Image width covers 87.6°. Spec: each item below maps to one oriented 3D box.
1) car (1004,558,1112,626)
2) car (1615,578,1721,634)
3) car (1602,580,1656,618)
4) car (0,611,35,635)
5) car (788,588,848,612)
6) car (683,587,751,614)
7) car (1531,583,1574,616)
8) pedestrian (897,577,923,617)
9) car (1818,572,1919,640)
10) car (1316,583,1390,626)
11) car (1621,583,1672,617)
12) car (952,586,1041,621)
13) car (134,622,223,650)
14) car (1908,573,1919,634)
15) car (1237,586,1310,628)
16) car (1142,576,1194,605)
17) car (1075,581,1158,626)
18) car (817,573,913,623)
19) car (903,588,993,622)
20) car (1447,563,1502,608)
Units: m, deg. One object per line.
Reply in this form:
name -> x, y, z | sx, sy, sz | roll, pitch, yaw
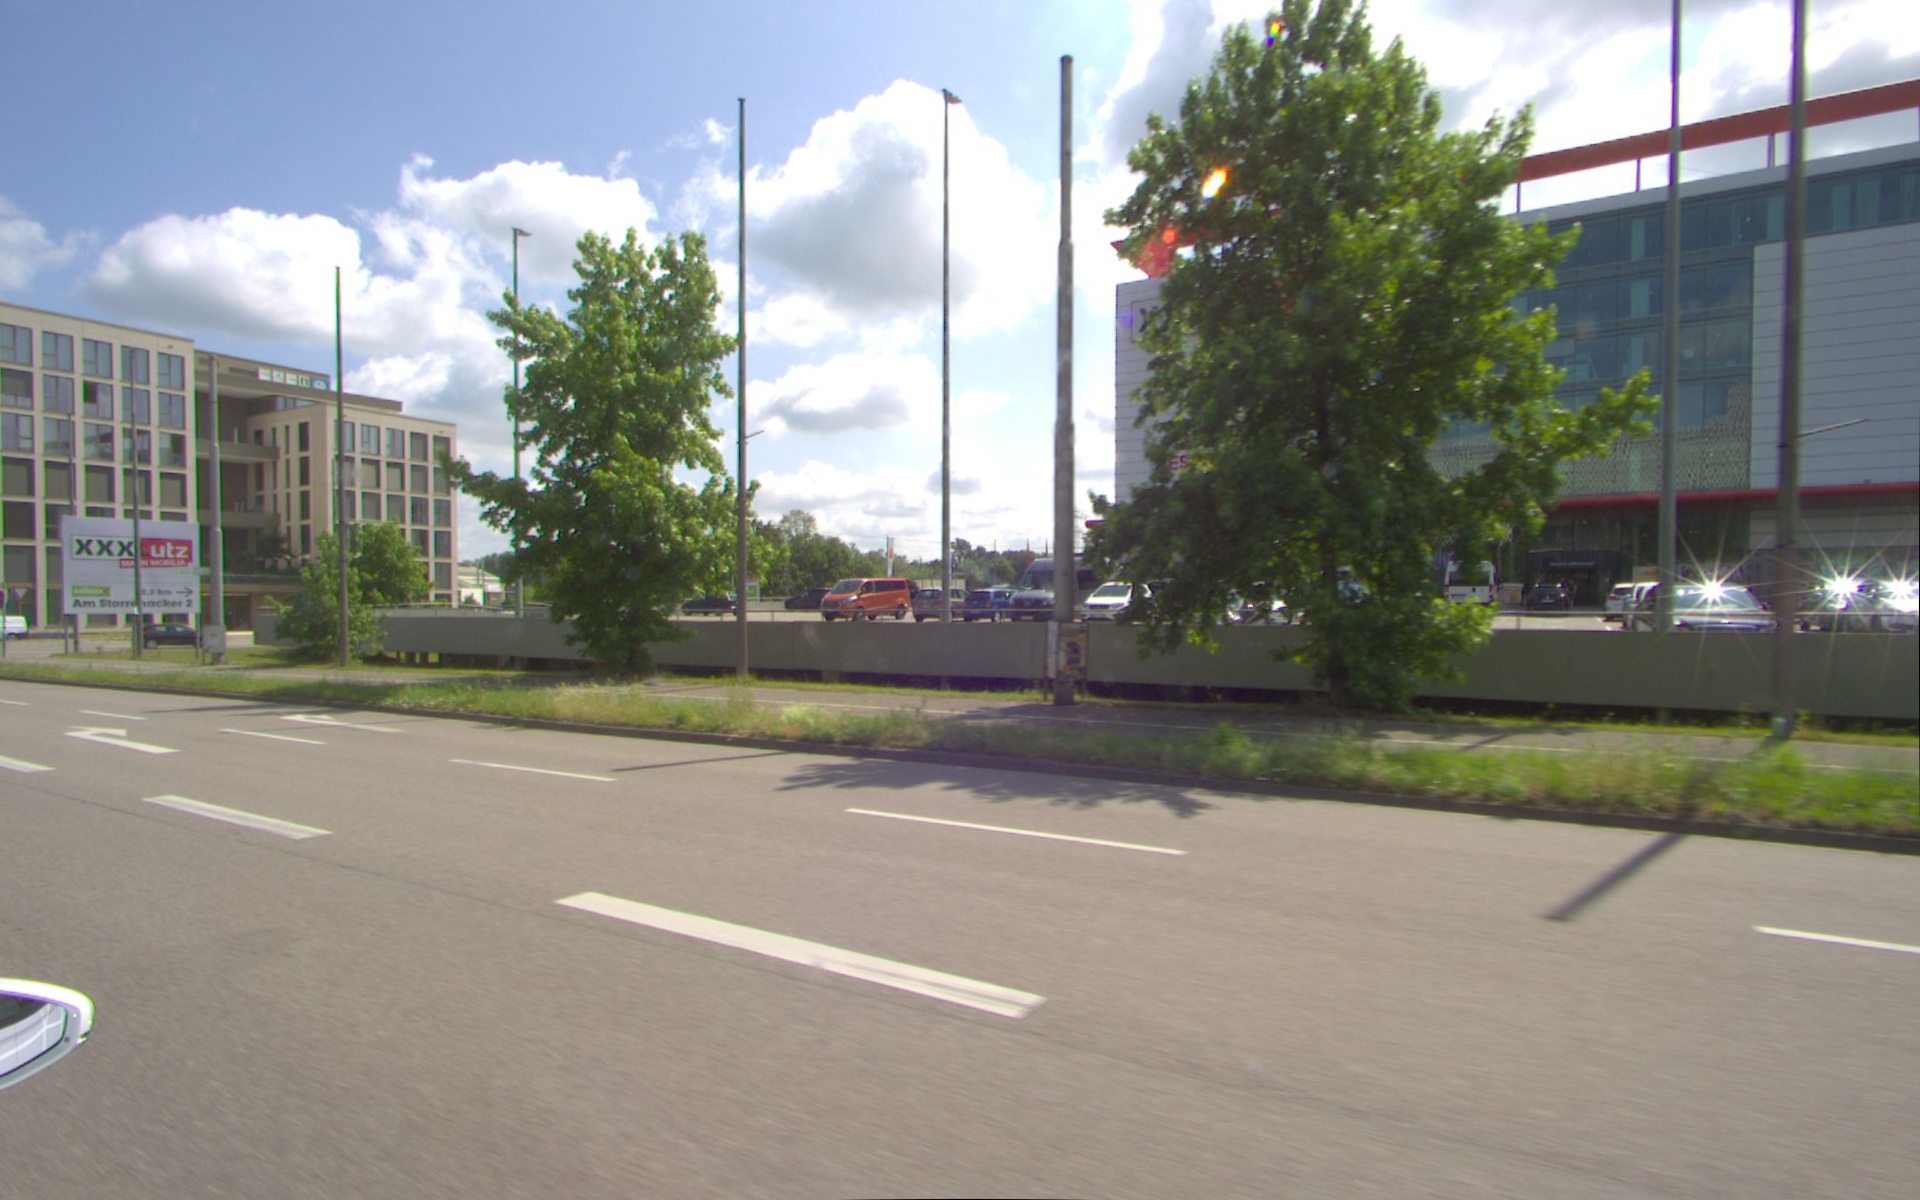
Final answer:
car -> 3.887, -0.240, 38.576 | 2.031, 2.397, 5.652 | -1, -1, 30
car -> 19.546, 0.112, 27.810 | 1.863, 1.408, 4.178 | 1, 1, 28
car -> 26.783, 0.001, 40.178 | 1.605, 1.439, 3.981 | 1, 0, 31
car -> -68.007, 1.576, 69.724 | 1.970, 1.628, 4.975 | 1, 0, 31
car -> -9.883, -0.022, 69.593 | 3.808, 1.622, 1.741 | 1, 0, 29
car -> -14.916, 0.040, 61.526 | 3.809, 1.541, 1.868 | -1, -1, 29
car -> 27.299, 0.000, 46.125 | 1.605, 1.439, 3.562 | 1, 0, 31
pedestrian -> -2.573, -0.168, 51.775 | 0.944, 2.040, 0.957 | 1, 0, 32
car -> 23.448, 0.173, 25.255 | 1.970, 1.591, 3.983 | -1, -1, 29
car -> 14.355, 0.113, 36.496 | 1.865, 1.454, 4.175 | 1, 1, 31
car -> 30.544, 0.006, 44.639 | 1.605, 1.439, 3.981 | 1, 0, 31
car -> 1.717, 0.193, 44.763 | 1.957, 1.503, 4.861 | -1, -1, 30
car -> -48.065, 2.184, 61.642 | 1.609, 1.524, 4.119 | 1, 2, 44
car -> 28.244, 0.099, 27.876 | 1.765, 1.751, 3.982 | 1, 0, 30
car -> 11.837, 0.217, 37.624 | 1.700, 1.454, 4.175 | 1, 1, 31
car -> 11.578, -0.506, 55.658 | 1.611, 1.461, 3.889 | 1, 0, 32
car -> 5.784, 0.166, 36.654 | 1.721, 1.534, 3.982 | -1, -1, 30
car -> -4.494, -0.041, 48.294 | 1.958, 2.223, 5.154 | -1, -2, 31
car -> -0.465, 0.252, 45.845 | 1.957, 1.473, 4.861 | -1, -1, 30
car -> 23.998, -0.643, 46.618 | 1.971, 1.977, 3.980 | 1, 0, 31
